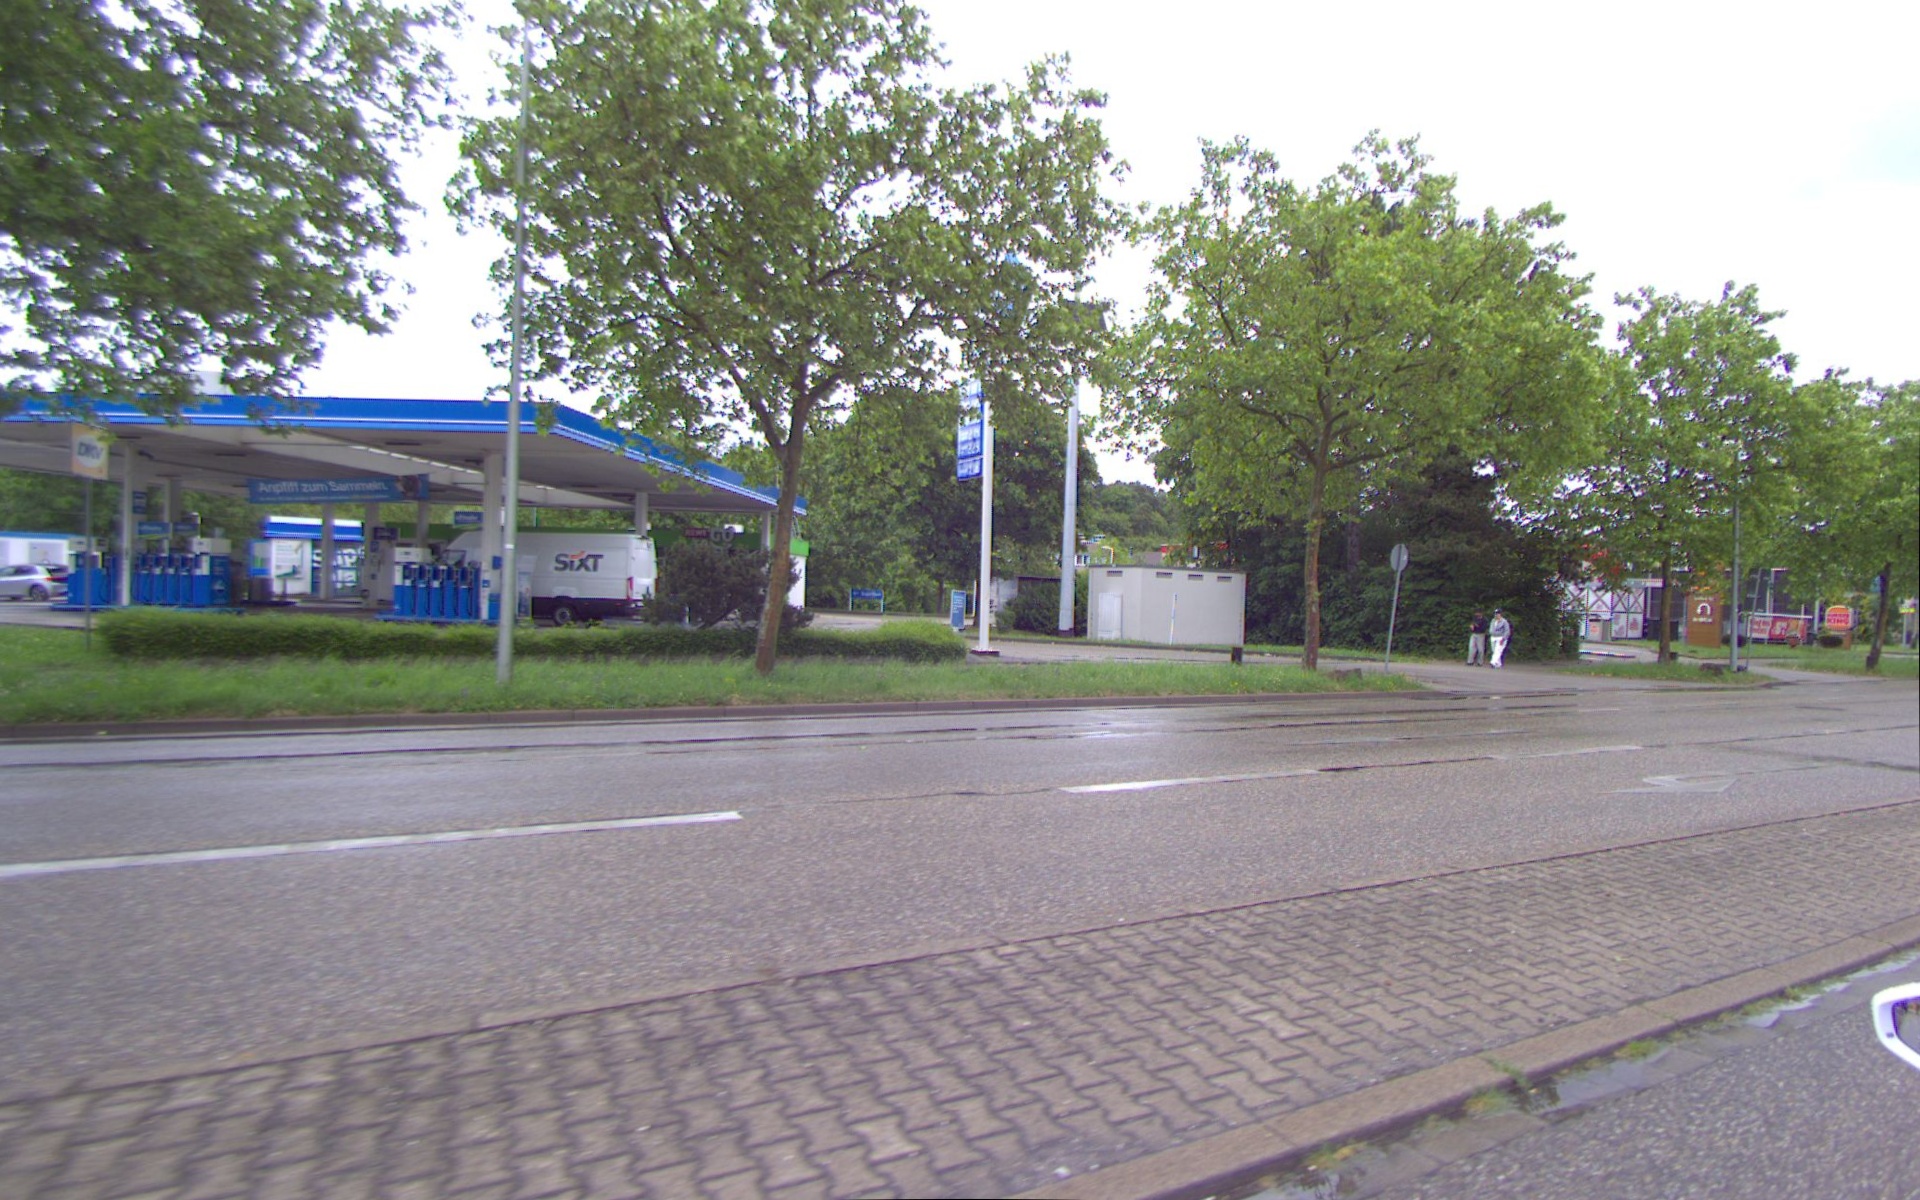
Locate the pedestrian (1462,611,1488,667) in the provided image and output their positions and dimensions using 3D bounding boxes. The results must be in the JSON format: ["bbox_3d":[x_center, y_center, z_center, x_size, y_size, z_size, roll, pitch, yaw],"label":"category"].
[{"bbox_3d":[15.843,1.185,30.885,0.535,1.705,0.509,1,-1,-32],"label":"pedestrian"}]

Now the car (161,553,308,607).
[{"bbox_3d":[-26.713,-0.745,37.051,4.046,1.832,1.946,2,2,3],"label":"car"}]

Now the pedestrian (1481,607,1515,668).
[{"bbox_3d":[16.218,1.130,30.296,0.573,1.790,0.665,2,1,-11],"label":"pedestrian"}]

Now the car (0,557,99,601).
[{"bbox_3d":[-38.567,-0.872,41.892,3.919,1.751,1.796,1,-1,6],"label":"car"}]

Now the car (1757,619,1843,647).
[{"bbox_3d":[43.745,1.723,52.359,1.273,1.171,3.164,2,2,-26],"label":"car"}]

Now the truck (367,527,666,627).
[{"bbox_3d":[-12.671,-0.639,28.969,7.714,2.711,2.156,1,-1,4],"label":"truck"}]
